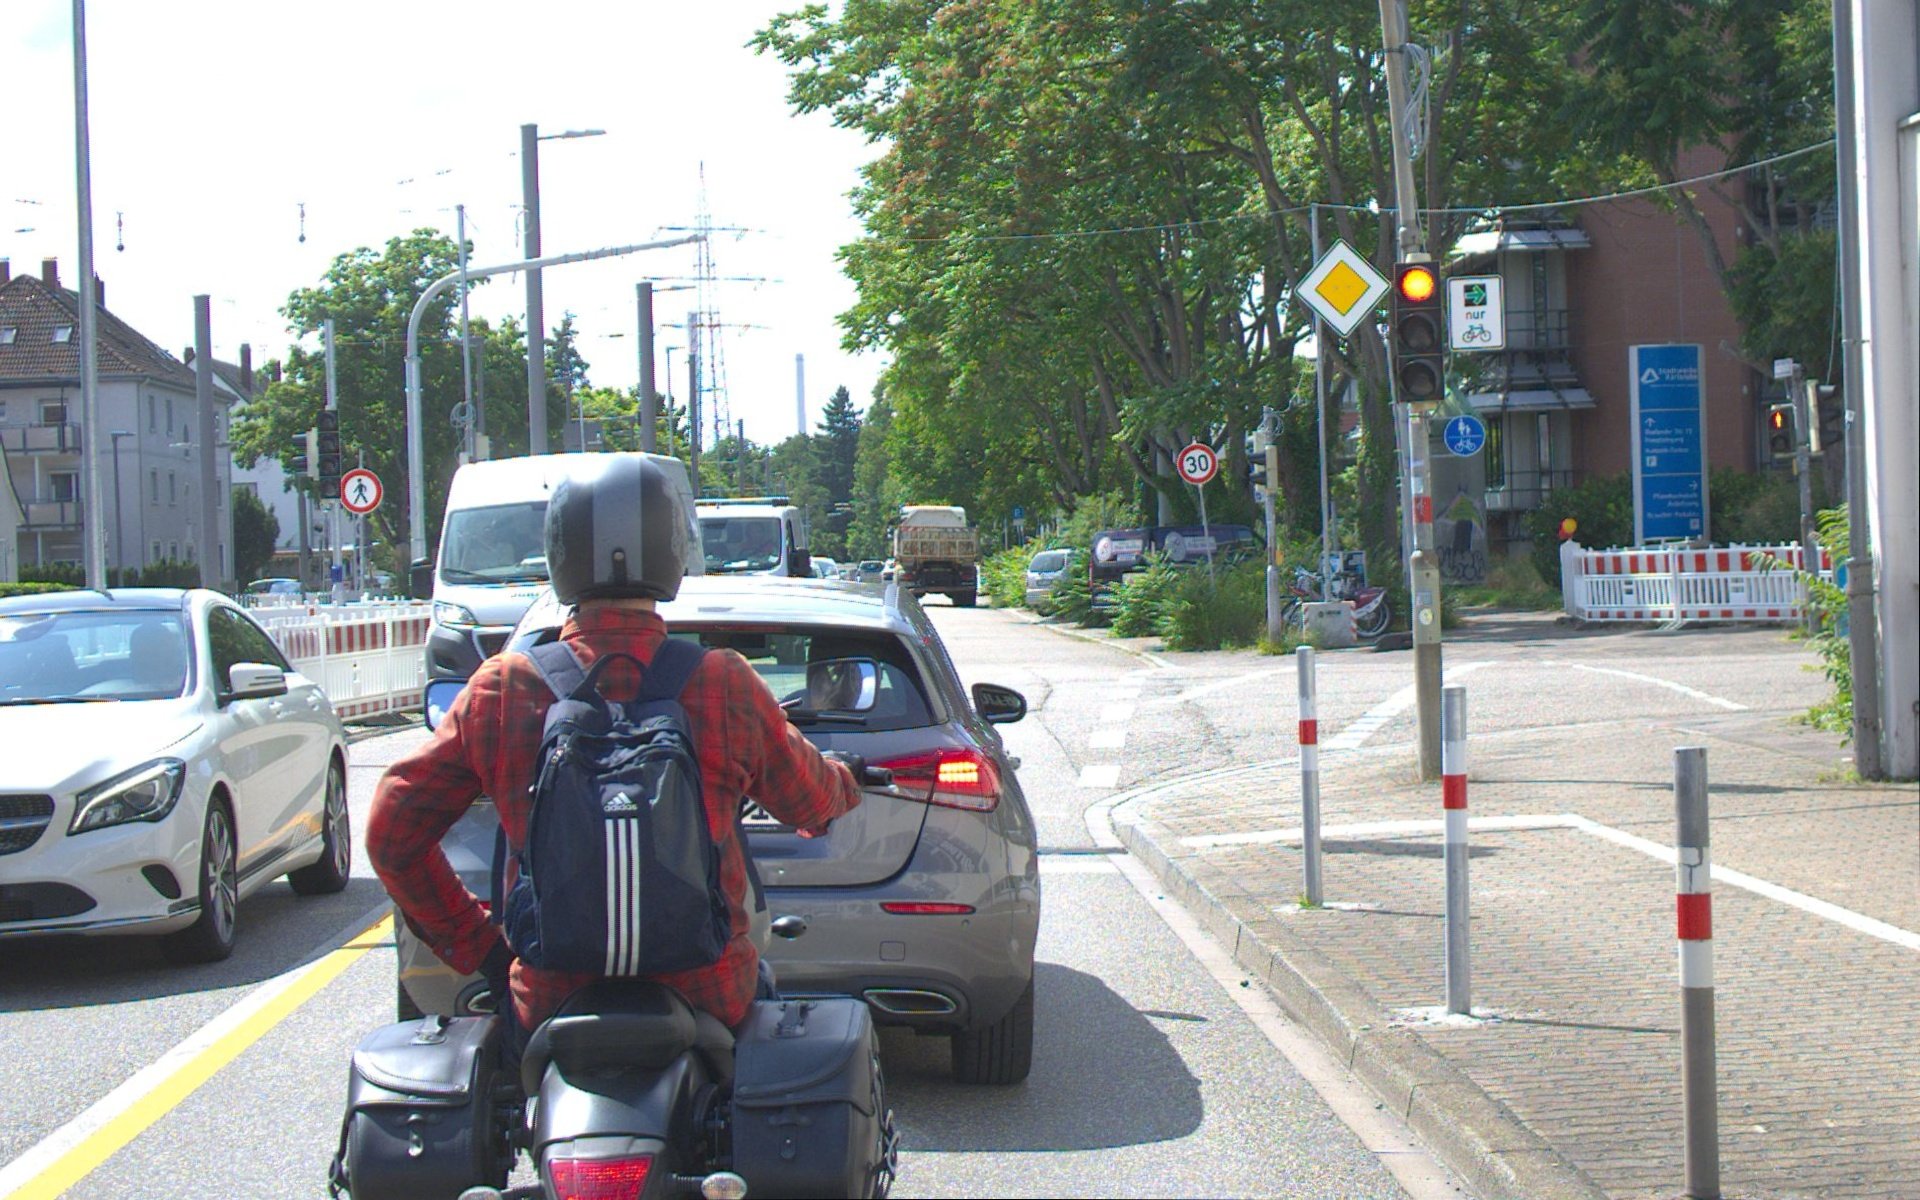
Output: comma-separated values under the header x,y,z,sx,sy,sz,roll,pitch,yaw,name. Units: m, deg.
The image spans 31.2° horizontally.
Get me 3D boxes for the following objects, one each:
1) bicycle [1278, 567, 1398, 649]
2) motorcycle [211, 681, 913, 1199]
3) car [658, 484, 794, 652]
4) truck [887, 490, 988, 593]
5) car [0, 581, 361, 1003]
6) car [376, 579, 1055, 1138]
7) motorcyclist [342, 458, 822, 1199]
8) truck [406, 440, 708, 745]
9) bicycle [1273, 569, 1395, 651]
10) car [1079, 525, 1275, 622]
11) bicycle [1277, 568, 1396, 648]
x,y,z,sx,sy,sz,roll,pitch,yaw,name
5.469,0.115,49.795,1.708,1.168,0.438,0,0,4,bicycle
-0.567,0.787,5.877,0.942,1.196,2.473,0,1,-1,motorcycle
-3.083,-0.417,45.749,1.589,2.135,3.627,0,0,-1,car
-0.652,-1.801,108.899,2.967,3.162,7.764,0,0,1,truck
-3.636,0.684,13.925,1.744,1.432,4.084,-2,0,-1,car
-0.831,0.657,10.900,1.731,1.399,4.087,1,1,-6,car
-0.576,0.588,5.463,0.698,1.599,0.692,0,0,-1,motorcyclist
-3.600,-0.160,31.675,2.093,2.468,5.196,-3,2,-1,truck
5.352,0.142,49.238,1.708,1.168,0.438,0,0,4,bicycle
4.415,-0.524,69.551,1.802,1.919,3.990,0,0,44,car
5.505,0.114,50.339,1.708,1.168,0.438,0,0,4,bicycle
